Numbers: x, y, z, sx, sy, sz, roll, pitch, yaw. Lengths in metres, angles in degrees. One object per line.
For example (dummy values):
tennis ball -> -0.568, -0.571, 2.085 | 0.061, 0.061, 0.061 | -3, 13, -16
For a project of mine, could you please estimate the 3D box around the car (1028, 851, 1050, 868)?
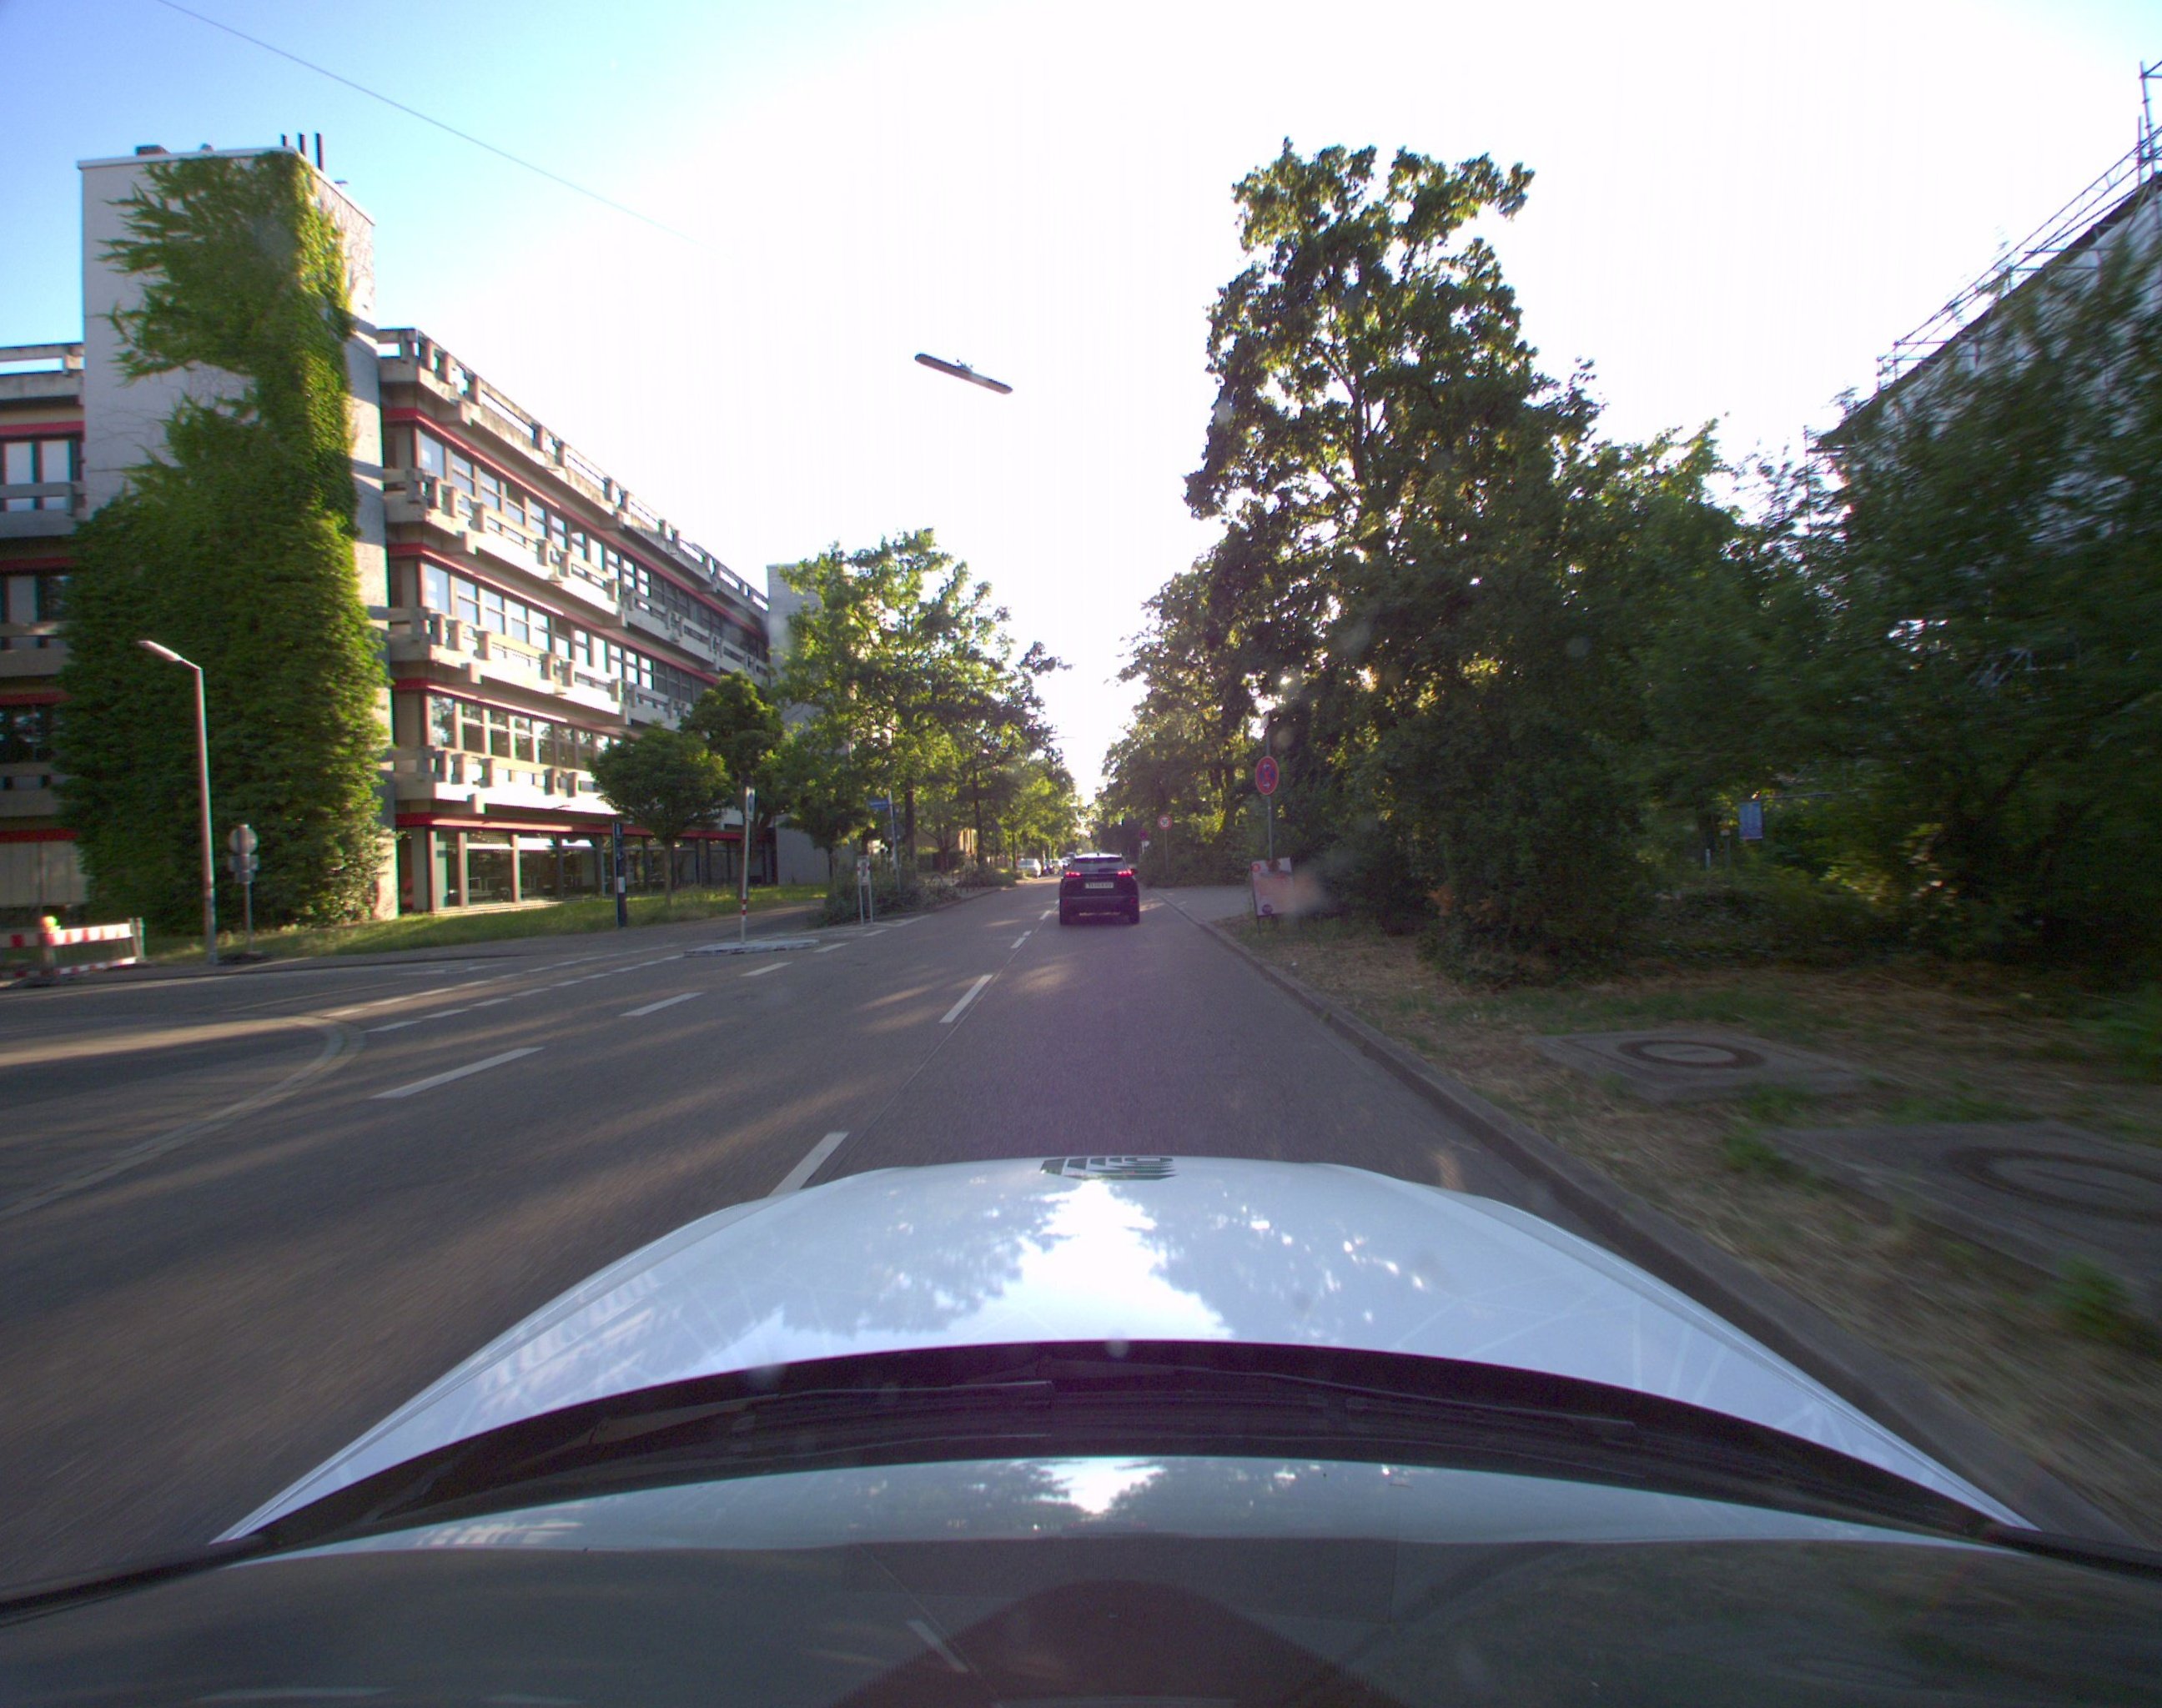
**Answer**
car -> -3.634, 0.483, 71.570 | 1.806, 1.354, 3.997 | -3, 1, -2

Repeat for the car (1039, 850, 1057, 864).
car -> -3.579, 0.319, 88.624 | 1.806, 1.354, 3.997 | -3, 1, -2

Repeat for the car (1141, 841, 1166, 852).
car -> 11.969, -1.228, 134.723 | 3.978, 1.582, 1.814 | -4, 1, -3

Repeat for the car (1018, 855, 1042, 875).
car -> -4.084, 0.872, 65.332 | 1.807, 1.354, 3.995 | -3, 1, -4

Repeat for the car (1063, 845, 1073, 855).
car -> -2.700, -0.853, 170.427 | 1.900, 1.867, 3.950 | -3, 0, 1

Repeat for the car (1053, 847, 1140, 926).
car -> 0.378, 0.679, 18.909 | 1.762, 1.568, 3.382 | -3, 1, 1

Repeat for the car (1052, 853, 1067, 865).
car -> -2.793, 0.633, 105.416 | 1.806, 1.354, 3.976 | -3, 1, -2

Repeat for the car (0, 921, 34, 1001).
car -> -21.613, 2.092, 14.541 | 3.263, 1.457, 1.680 | -4, -1, -8
